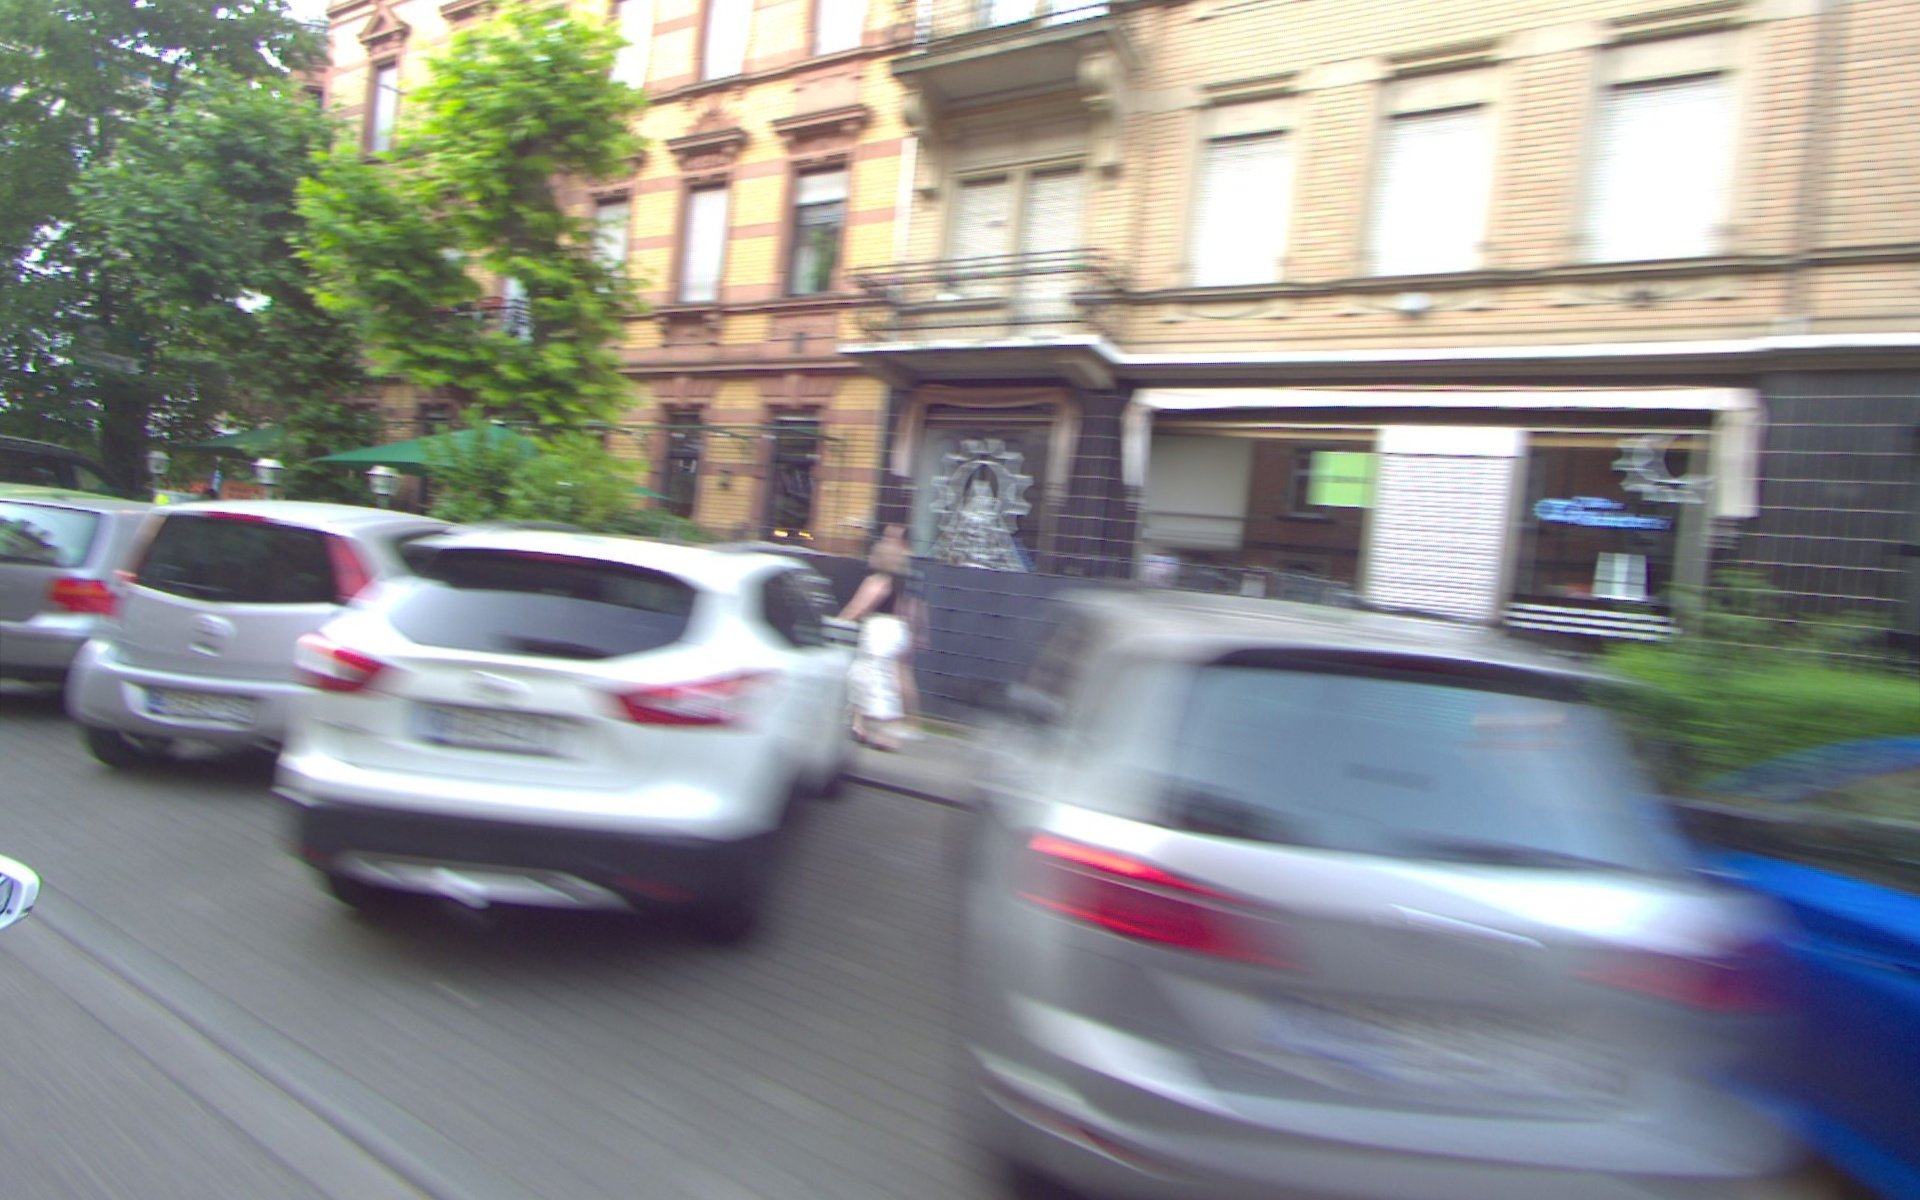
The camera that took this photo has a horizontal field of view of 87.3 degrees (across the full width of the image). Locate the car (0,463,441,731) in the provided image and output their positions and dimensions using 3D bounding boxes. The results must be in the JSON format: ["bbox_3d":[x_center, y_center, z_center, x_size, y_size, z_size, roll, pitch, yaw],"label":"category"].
[{"bbox_3d":[-6.210,-0.155,8.177,1.785,1.573,4.103,6,2,-1],"label":"car"}]

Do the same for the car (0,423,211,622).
[{"bbox_3d":[-11.175,-0.950,11.302,1.899,2.101,5.424,6,2,-7],"label":"car"}]

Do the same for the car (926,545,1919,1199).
[{"bbox_3d":[0.933,0.734,3.903,1.851,1.612,4.161,7,2,0],"label":"car"}]

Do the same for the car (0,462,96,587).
[{"bbox_3d":[-13.618,-1.060,12.656,1.898,1.644,4.217,6,2,-3],"label":"car"}]

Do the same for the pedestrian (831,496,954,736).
[{"bbox_3d":[-0.595,0.147,9.014,0.644,2.038,0.624,6,-1,30],"label":"pedestrian"}]

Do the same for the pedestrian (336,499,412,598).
[{"bbox_3d":[-8.924,-0.779,15.327,0.685,1.382,0.589,6,-1,27],"label":"pedestrian"}]

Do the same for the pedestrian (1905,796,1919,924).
[{"bbox_3d":[5.547,0.900,5.079,0.812,1.773,0.685,6,3,28],"label":"pedestrian"}]

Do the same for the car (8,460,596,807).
[{"bbox_3d":[-4.087,0.092,7.186,1.786,1.612,4.099,6,2,-7],"label":"car"}]

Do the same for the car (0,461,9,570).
[{"bbox_3d":[-15.767,-1.321,13.696,1.899,1.711,4.214,6,2,-7],"label":"car"}]

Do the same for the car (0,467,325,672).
[{"bbox_3d":[-8.358,-0.389,9.703,1.785,1.573,4.103,6,2,-1],"label":"car"}]

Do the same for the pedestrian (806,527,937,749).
[{"bbox_3d":[-0.720,0.311,8.270,0.645,1.701,0.624,6,-1,31],"label":"pedestrian"}]

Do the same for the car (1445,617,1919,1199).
[{"bbox_3d":[3.270,0.997,2.735,1.850,1.610,4.165,7,1,2],"label":"car"}]

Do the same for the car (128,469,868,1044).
[{"bbox_3d":[-1.634,0.421,5.167,1.785,1.612,4.104,6,2,0],"label":"car"}]
